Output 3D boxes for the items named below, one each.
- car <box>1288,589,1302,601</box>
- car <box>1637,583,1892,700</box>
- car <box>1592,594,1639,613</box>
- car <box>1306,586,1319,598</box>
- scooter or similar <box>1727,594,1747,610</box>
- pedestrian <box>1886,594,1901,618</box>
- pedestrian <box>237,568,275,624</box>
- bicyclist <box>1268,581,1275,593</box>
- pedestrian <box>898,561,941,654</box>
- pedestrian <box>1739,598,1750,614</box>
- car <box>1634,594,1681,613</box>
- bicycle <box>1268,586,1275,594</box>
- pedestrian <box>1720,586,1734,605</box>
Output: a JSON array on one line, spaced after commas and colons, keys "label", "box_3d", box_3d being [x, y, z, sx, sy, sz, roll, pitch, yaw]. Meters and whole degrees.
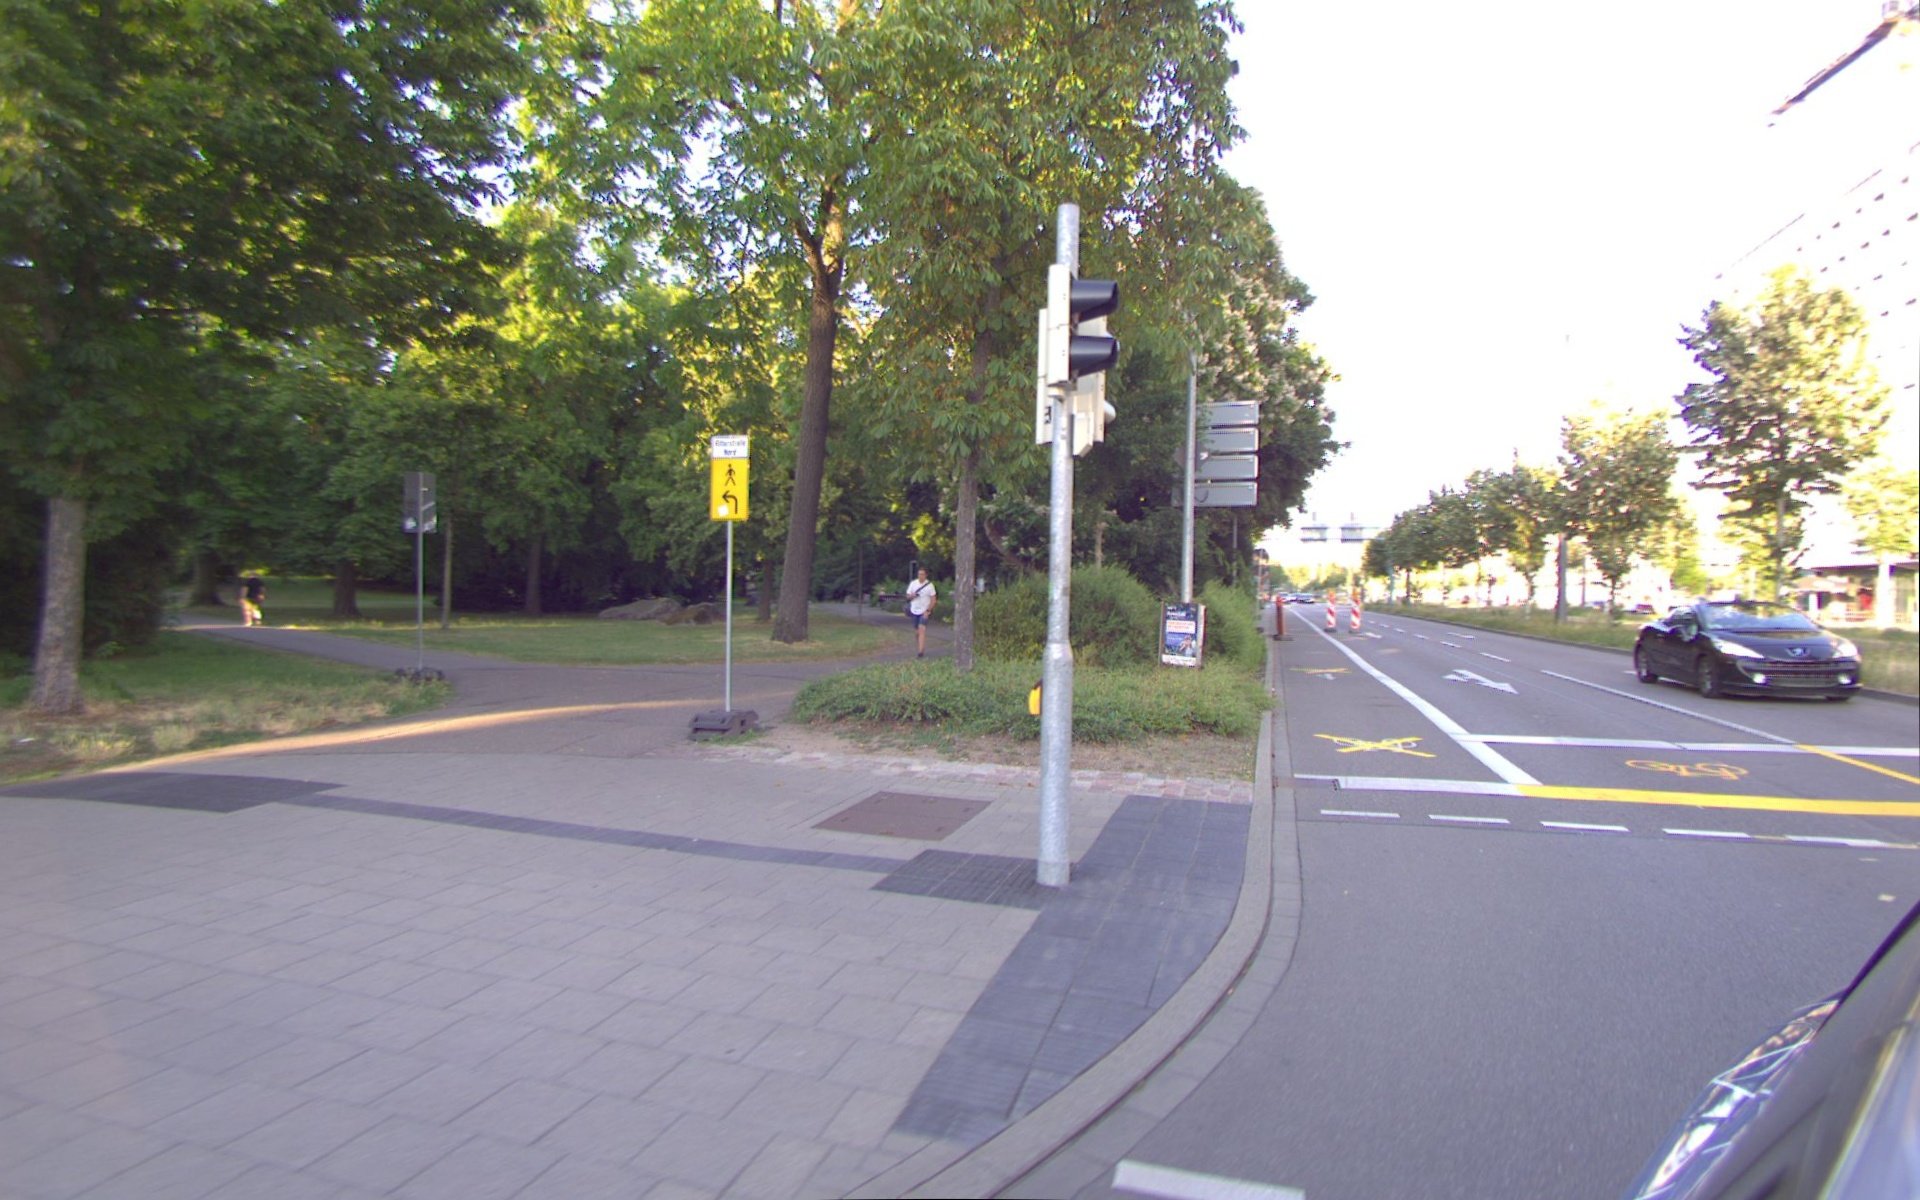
[{"label": "car", "box_3d": [47.164, -0.667, 142.576, 1.811, 1.617, 4.233, 0, 0, 19]}, {"label": "car", "box_3d": [11.666, 0.517, 15.013, 1.702, 1.468, 3.877, 1, 0, 19]}, {"label": "car", "box_3d": [54.312, 0.294, 83.946, 1.995, 1.459, 4.774, 3, 1, 18]}, {"label": "car", "box_3d": [48.356, -1.110, 138.874, 1.682, 1.617, 4.233, 0, 0, 19]}, {"label": "scooter or similar", "box_3d": [60.988, 0.154, 79.455, 1.170, 1.233, 0.336, 1, 0, 20]}, {"label": "pedestrian", "box_3d": [62.094, 0.384, 67.303, 0.492, 1.620, 0.600, -2, -1, 20]}, {"label": "pedestrian", "box_3d": [-20.784, -0.126, 29.879, 0.822, 1.644, 0.815, 0, 1, -41]}, {"label": "bicyclist", "box_3d": [43.407, -1.788, 141.024, 0.699, 1.722, 0.761, -1, 2, 27]}, {"label": "pedestrian", "box_3d": [-0.807, 0.142, 20.462, 0.781, 1.855, 0.772, 0, 0, 5]}, {"label": "pedestrian", "box_3d": [74.410, 0.541, 95.976, 0.598, 1.481, 0.768, 1, 0, 18]}, {"label": "car", "box_3d": [57.033, 0.268, 82.819, 1.865, 1.458, 4.201, 1, 1, 17]}, {"label": "bicycle", "box_3d": [43.466, -1.351, 141.104, 0.713, 1.064, 2.028, -1, 1, 24]}, {"label": "pedestrian", "box_3d": [65.812, -0.397, 86.831, 0.668, 1.624, 0.708, -2, 0, -33]}]
